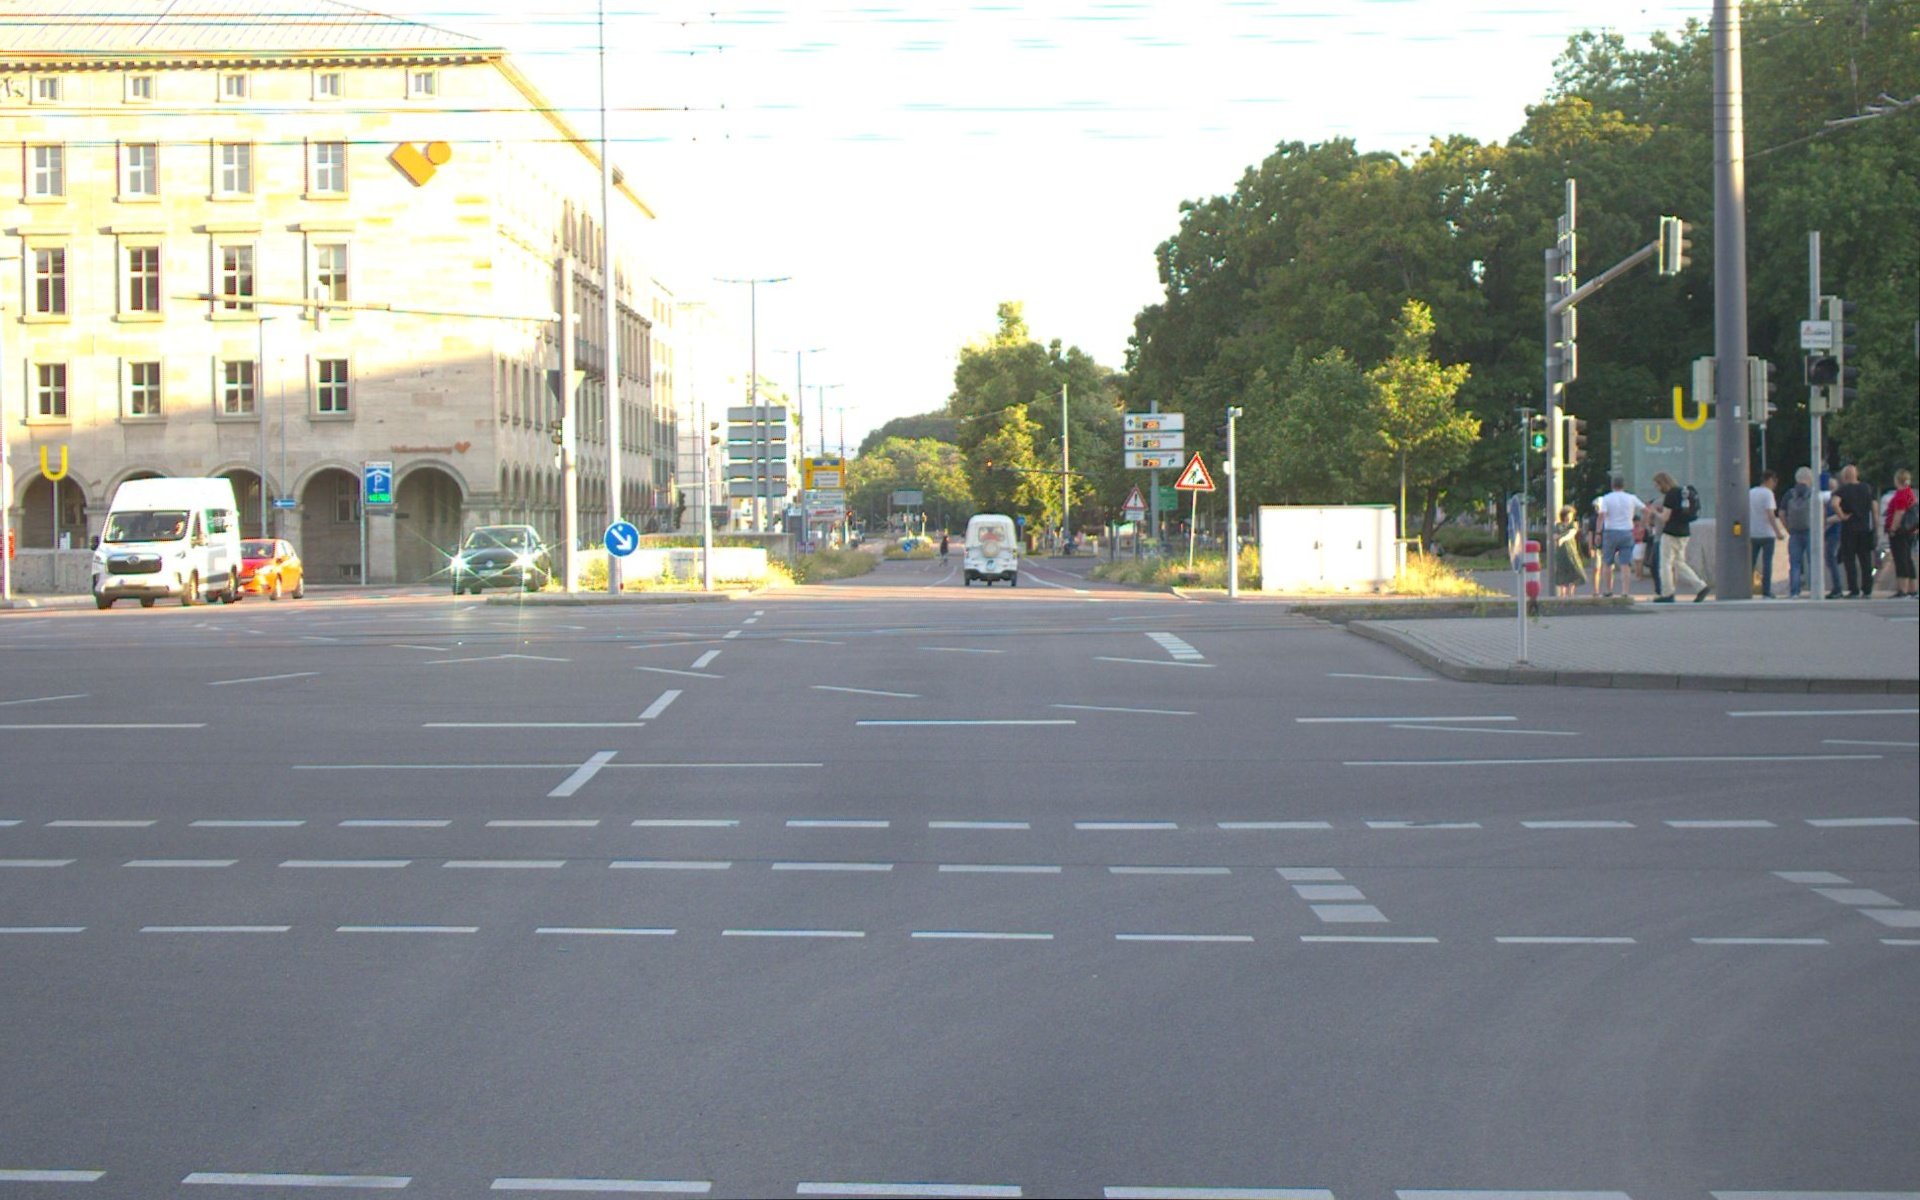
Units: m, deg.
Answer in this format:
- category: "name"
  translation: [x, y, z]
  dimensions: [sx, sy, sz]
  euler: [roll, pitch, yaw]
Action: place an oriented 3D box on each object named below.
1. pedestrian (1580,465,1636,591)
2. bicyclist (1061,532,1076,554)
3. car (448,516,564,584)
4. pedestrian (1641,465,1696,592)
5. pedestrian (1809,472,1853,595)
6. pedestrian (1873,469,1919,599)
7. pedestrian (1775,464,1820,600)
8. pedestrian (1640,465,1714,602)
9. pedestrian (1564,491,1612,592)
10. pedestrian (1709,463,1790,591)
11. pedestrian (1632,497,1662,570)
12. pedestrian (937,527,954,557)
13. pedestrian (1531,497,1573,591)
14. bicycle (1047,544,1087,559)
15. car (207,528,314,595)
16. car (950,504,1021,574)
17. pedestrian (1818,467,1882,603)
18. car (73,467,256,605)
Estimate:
- category: "pedestrian"
  translation: [8.932, -0.999, 47.367]
  dimensions: [0.711, 1.719, 0.668]
  euler: [0, 2, 14]
- category: "bicyclist"
  translation: [7.117, -3.734, 225.388]
  dimensions: [0.830, 1.458, 0.661]
  euler: [-1, 2, -10]
- category: "car"
  translation: [-9.556, -1.069, 72.631]
  dimensions: [1.823, 1.337, 4.000]
  euler: [-1, 2, 2]
- category: "pedestrian"
  translation: [9.752, -0.987, 47.306]
  dimensions: [0.711, 1.719, 0.668]
  euler: [0, 2, 13]
- category: "pedestrian"
  translation: [11.941, -0.919, 47.126]
  dimensions: [0.572, 1.673, 0.638]
  euler: [0, 2, 14]
- category: "pedestrian"
  translation: [12.672, -0.887, 46.009]
  dimensions: [0.845, 1.728, 0.705]
  euler: [0, 2, 12]
- category: "pedestrian"
  translation: [11.125, -0.904, 45.701]
  dimensions: [0.572, 1.785, 0.638]
  euler: [0, 2, 14]
- category: "pedestrian"
  translation: [9.079, -0.842, 43.526]
  dimensions: [0.912, 1.719, 0.713]
  euler: [0, 2, 12]
- category: "pedestrian"
  translation: [11.079, -1.033, 60.631]
  dimensions: [0.680, 1.751, 0.901]
  euler: [0, 2, 20]
- category: "pedestrian"
  translation: [10.712, -0.993, 46.675]
  dimensions: [0.912, 1.719, 0.713]
  euler: [-1, 2, -3]
- category: "pedestrian"
  translation: [17.367, -1.681, 86.937]
  dimensions: [0.666, 1.836, 0.713]
  euler: [-1, 2, 5]
- category: "pedestrian"
  translation: [-0.822, -3.273, 194.752]
  dimensions: [0.906, 1.665, 1.307]
  euler: [-1, 2, -1]
- category: "pedestrian"
  translation: [10.483, -0.995, 60.844]
  dimensions: [0.560, 1.649, 0.901]
  euler: [0, 2, 20]
- category: "bicycle"
  translation: [7.018, -3.157, 225.360]
  dimensions: [2.601, 0.955, 0.515]
  euler: [1, 0, -11]
- category: "car"
  translation: [-16.476, -0.928, 81.185]
  dimensions: [1.738, 1.482, 4.001]
  euler: [-1, 2, -1]
- category: "car"
  translation: [0.617, -1.538, 85.391]
  dimensions: [1.483, 1.690, 2.974]
  euler: [-1, 2, -4]
- category: "pedestrian"
  translation: [11.820, -0.866, 45.674]
  dimensions: [0.805, 1.785, 0.800]
  euler: [0, 2, 14]
- category: "car"
  translation: [-16.693, -1.378, 72.478]
  dimensions: [2.279, 2.766, 6.084]
  euler: [-1, 2, 1]
